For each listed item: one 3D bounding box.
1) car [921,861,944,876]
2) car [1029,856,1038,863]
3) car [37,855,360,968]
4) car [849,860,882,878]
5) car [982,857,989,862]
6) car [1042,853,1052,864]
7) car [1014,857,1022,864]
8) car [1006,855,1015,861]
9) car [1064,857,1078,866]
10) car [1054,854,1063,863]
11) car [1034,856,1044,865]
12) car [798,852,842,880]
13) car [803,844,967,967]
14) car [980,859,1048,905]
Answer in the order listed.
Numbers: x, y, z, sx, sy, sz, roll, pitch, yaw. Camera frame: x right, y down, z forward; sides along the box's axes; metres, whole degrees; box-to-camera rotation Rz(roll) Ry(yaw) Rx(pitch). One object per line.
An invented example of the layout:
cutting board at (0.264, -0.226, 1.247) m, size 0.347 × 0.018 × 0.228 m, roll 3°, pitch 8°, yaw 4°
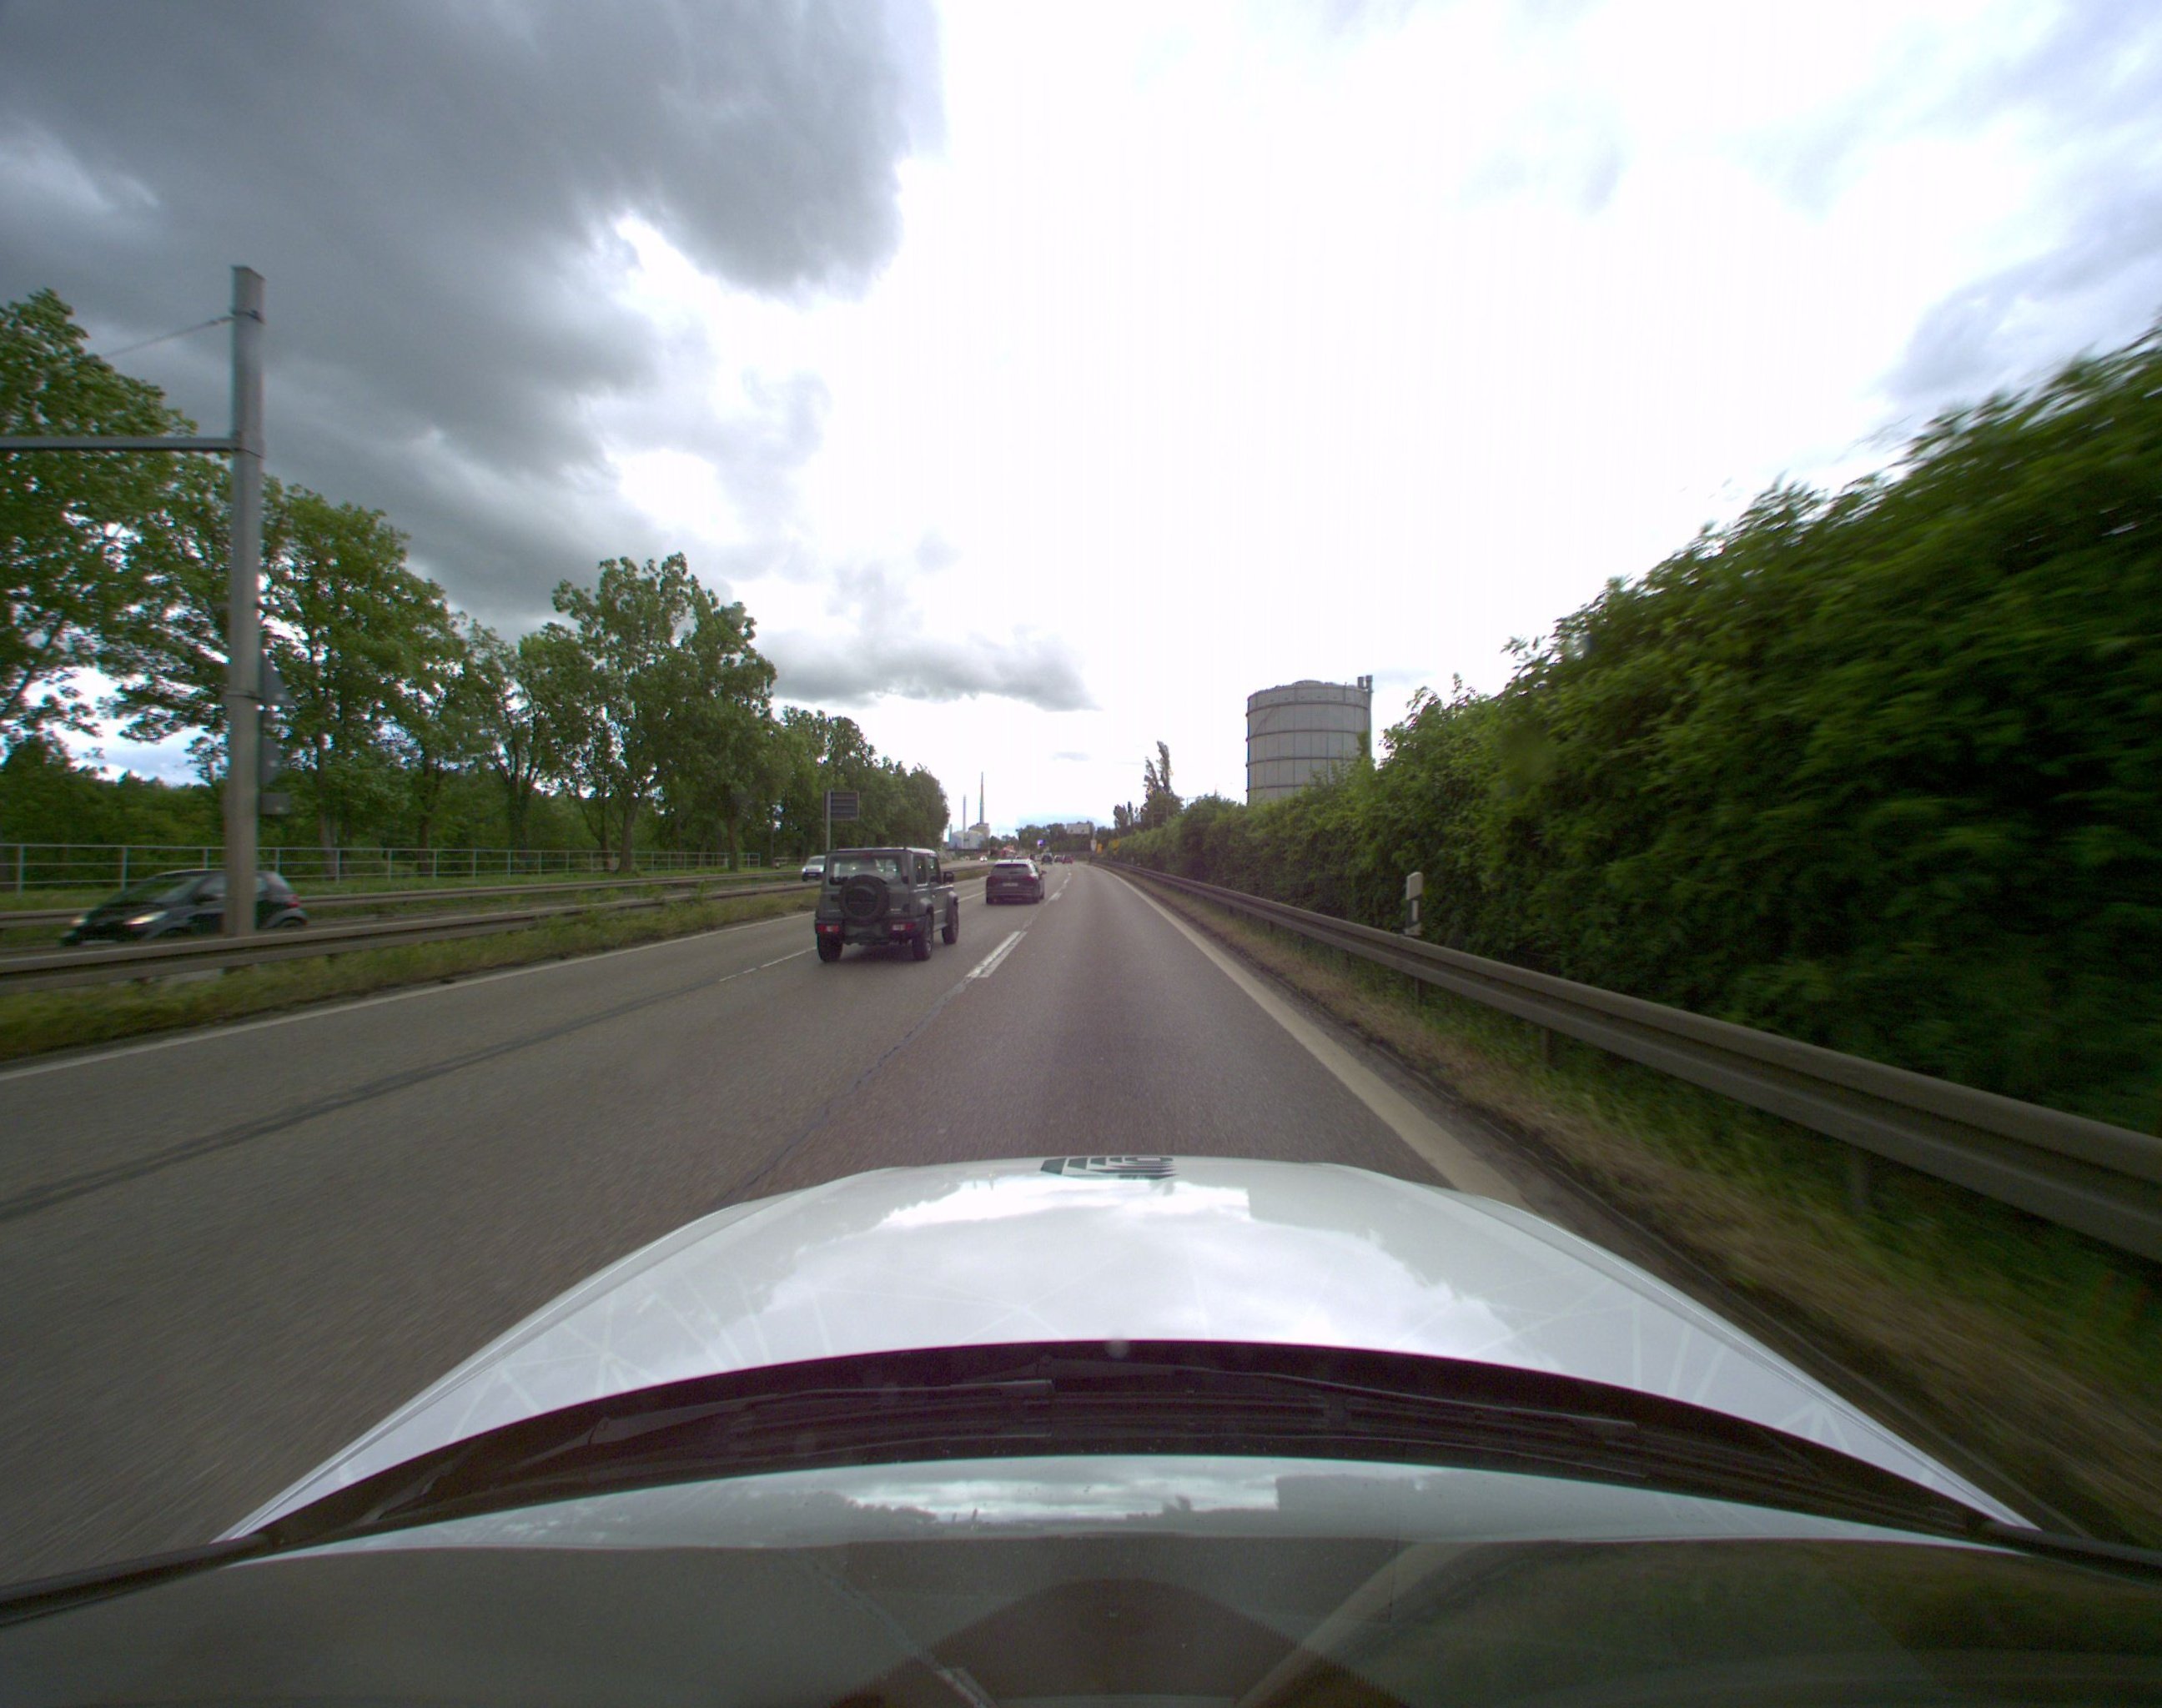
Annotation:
car at (-15.089, 1.463, 82.940) m, size 1.655 × 1.424 × 3.911 m, roll 0°, pitch 0°, yaw 0°
car at (-12.634, 1.391, 217.252) m, size 2.013 × 1.934 × 4.884 m, roll -1°, pitch 0°, yaw -9°
car at (-15.714, 0.924, 14.847) m, size 1.719 × 1.775 × 3.743 m, roll -1°, pitch 0°, yaw 2°
car at (-18.883, 1.300, 71.670) m, size 1.712 × 1.465 × 4.380 m, roll 0°, pitch 0°, yaw 0°
car at (-25.625, 1.442, 218.815) m, size 1.611 × 1.386 × 3.727 m, roll 0°, pitch 0°, yaw -4°
car at (-5.616, 0.694, 134.768) m, size 1.694 × 1.742 × 3.995 m, roll -1°, pitch 0°, yaw -3°
car at (-17.004, 1.832, 220.614) m, size 1.698 × 1.742 × 4.378 m, roll -1°, pitch 0°, yaw -10°
car at (-22.671, 1.356, 260.888) m, size 2.016 × 1.934 × 4.877 m, roll -1°, pitch 0°, yaw -14°
car at (-1.751, 1.263, 141.633) m, size 1.971 × 1.423 × 4.892 m, roll -1°, pitch 0°, yaw -4°
car at (-4.640, 0.987, 168.745) m, size 1.694 × 1.742 × 4.388 m, roll -1°, pitch 0°, yaw -3°
car at (-10.111, 1.549, 197.492) m, size 2.012 × 1.934 × 4.888 m, roll -1°, pitch 0°, yaw -7°
car at (-18.412, 0.851, 57.696) m, size 1.605 × 1.883 × 4.561 m, roll 0°, pitch 0°, yaw 0°
car at (-3.020, 0.719, 13.375) m, size 1.692 × 1.686 × 3.999 m, roll -1°, pitch 0°, yaw 0°
car at (-2.209, 0.890, 28.053) m, size 1.838 × 1.423 × 4.900 m, roll 1°, pitch 0°, yaw 1°
